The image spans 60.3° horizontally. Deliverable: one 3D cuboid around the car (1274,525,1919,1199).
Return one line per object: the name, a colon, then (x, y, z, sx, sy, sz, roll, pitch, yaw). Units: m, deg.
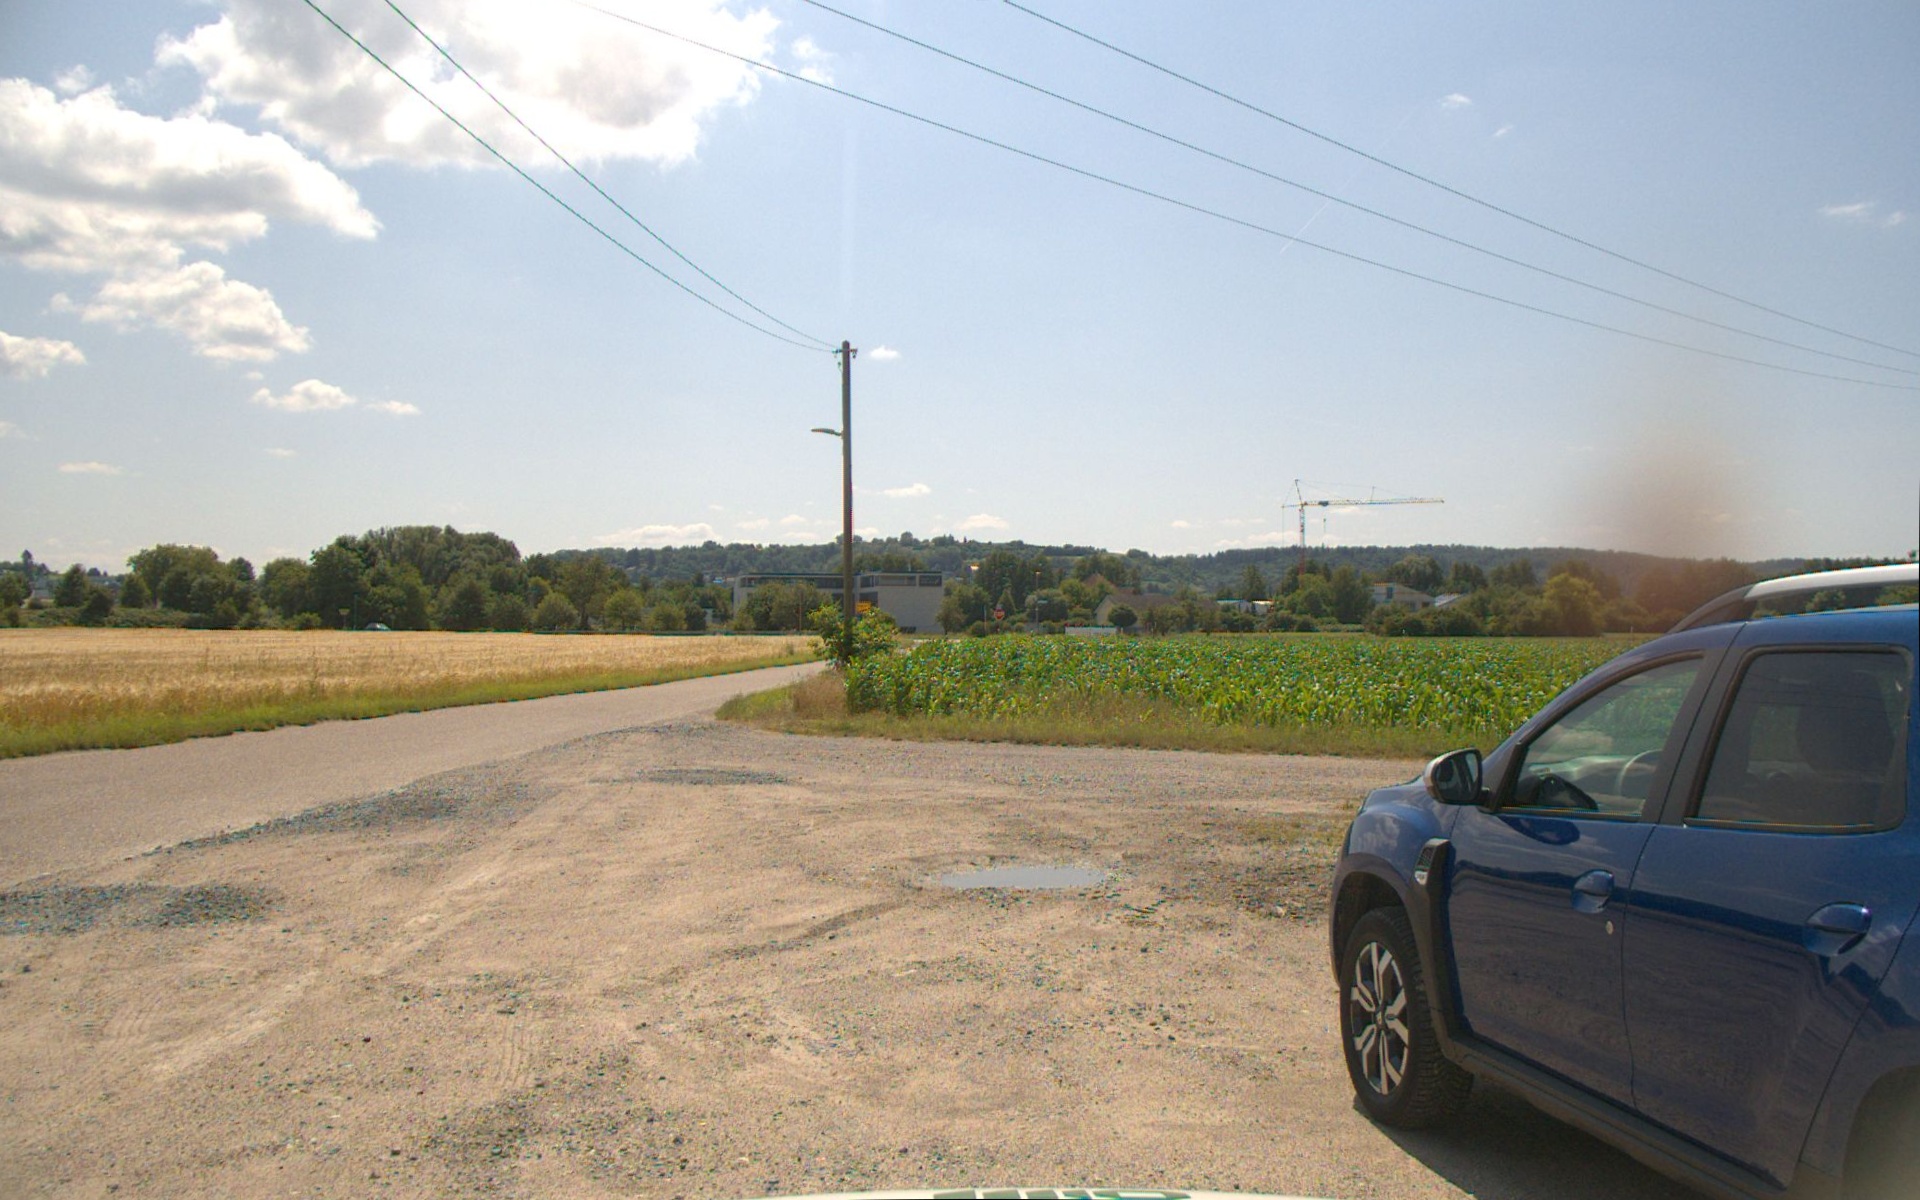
car: (2.416, 0.762, 4.184, 1.824, 1.690, 4.449, 1, -2, -9)
